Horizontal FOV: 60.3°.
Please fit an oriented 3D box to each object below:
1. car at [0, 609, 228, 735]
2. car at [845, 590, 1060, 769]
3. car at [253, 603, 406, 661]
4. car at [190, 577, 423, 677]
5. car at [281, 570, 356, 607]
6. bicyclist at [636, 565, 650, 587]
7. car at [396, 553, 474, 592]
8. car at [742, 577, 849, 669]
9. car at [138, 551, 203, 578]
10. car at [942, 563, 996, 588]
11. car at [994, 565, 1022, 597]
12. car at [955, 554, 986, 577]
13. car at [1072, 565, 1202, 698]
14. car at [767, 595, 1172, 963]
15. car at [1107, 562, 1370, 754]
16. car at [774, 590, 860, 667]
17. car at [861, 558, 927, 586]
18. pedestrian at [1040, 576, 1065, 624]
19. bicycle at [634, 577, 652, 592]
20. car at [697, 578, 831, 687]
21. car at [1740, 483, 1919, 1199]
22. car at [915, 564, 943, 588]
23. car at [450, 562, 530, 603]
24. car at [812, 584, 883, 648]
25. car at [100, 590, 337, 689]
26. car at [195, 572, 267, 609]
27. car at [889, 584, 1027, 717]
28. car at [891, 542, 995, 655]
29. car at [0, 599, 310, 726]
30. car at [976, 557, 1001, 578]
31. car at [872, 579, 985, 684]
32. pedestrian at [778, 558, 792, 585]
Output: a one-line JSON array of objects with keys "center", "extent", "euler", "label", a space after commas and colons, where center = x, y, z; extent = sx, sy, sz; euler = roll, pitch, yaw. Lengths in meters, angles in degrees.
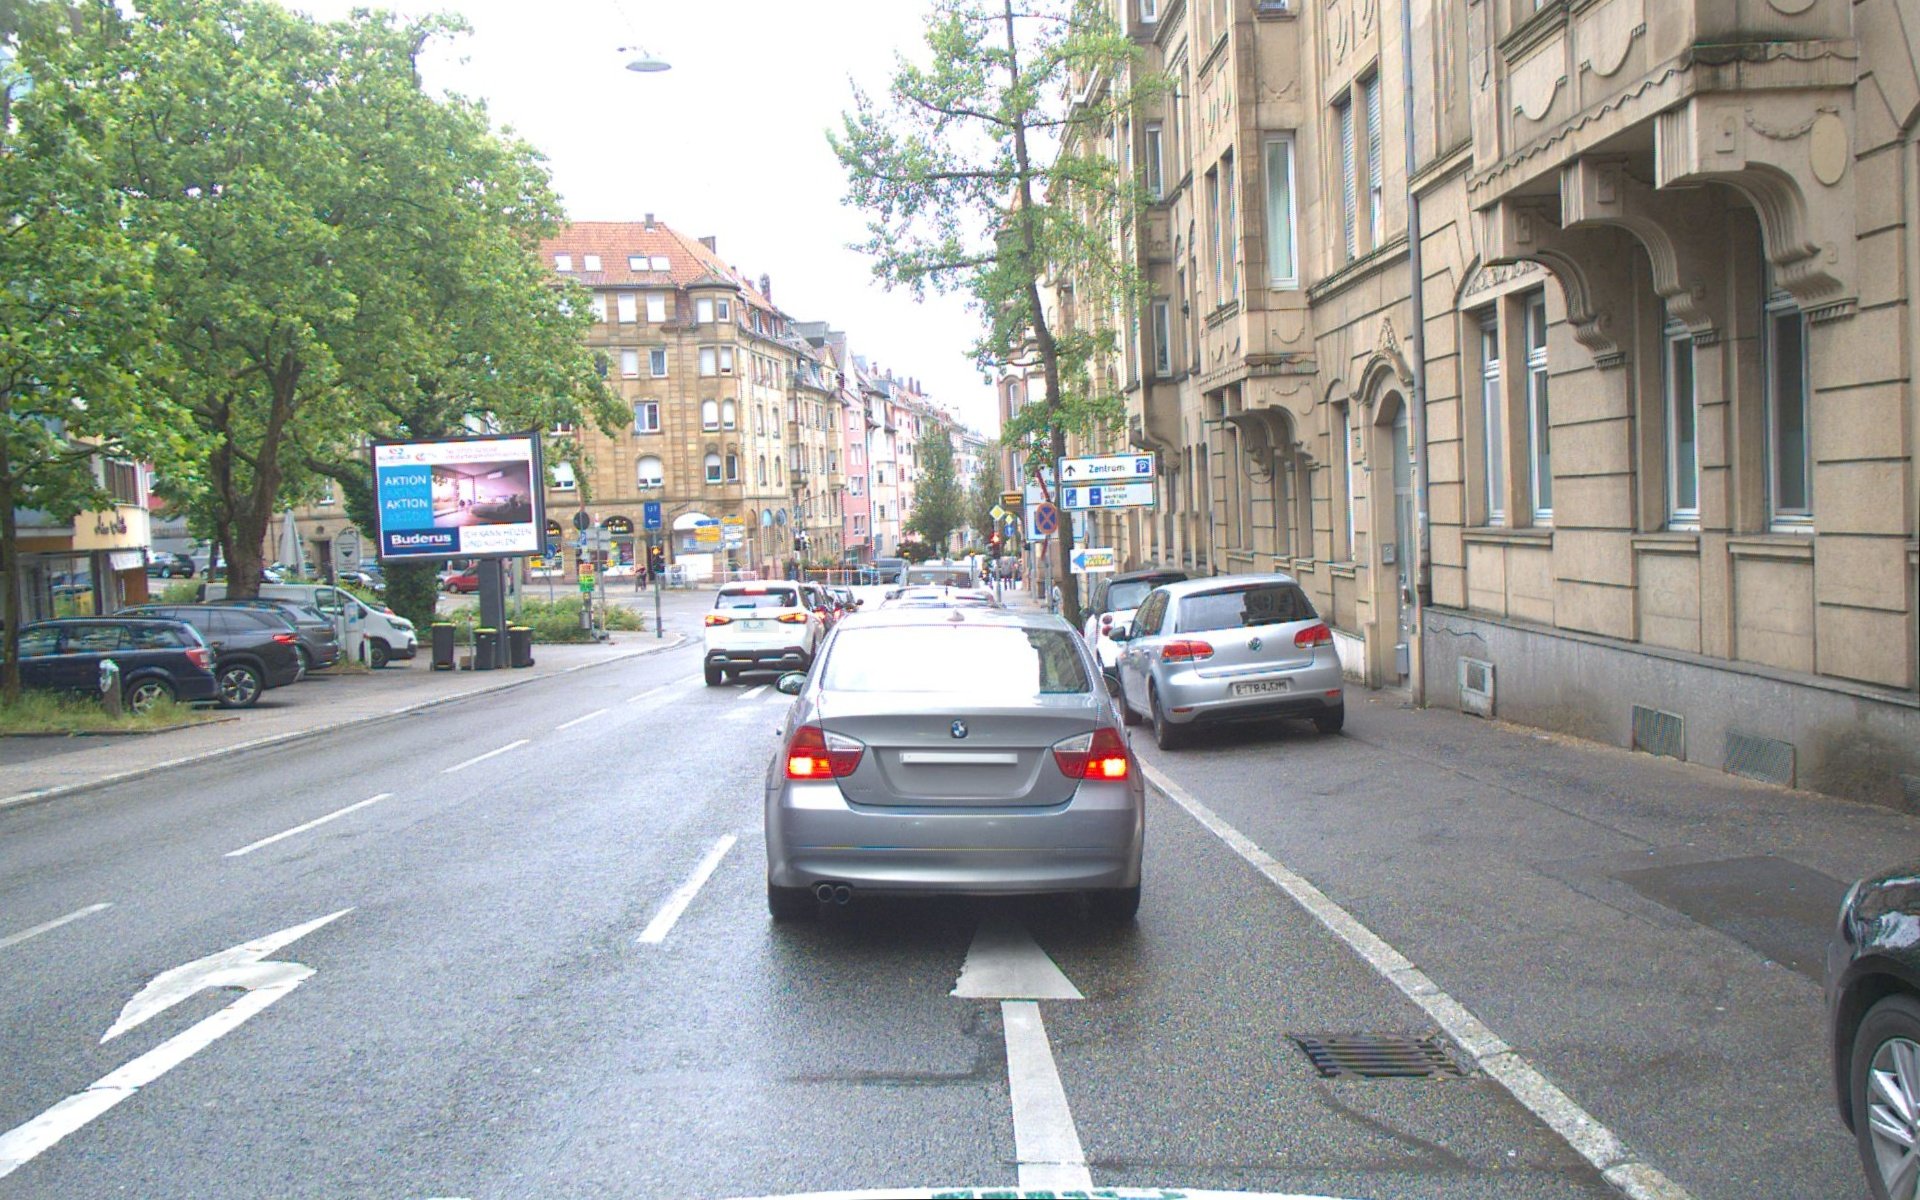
[{"center": [-12.995, 1.036, 23.913], "extent": [4.299, 1.601, 1.929], "euler": [-3, 1, -24], "label": "car"}, {"center": [-0.047, 0.630, 15.345], "extent": [1.723, 1.407, 4.000], "euler": [-1, 1, 0], "label": "car"}, {"center": [-17.717, 0.868, 46.559], "extent": [3.916, 1.475, 1.757], "euler": [-2, 0, -22], "label": "car"}, {"center": [-15.459, 0.602, 39.315], "extent": [4.989, 2.142, 1.979], "euler": [-2, 0, -22], "label": "car"}, {"center": [-39.248, -0.706, 101.145], "extent": [4.196, 2.138, 1.998], "euler": [2, 2, 28], "label": "car"}, {"center": [-18.428, -1.389, 96.189], "extent": [0.556, 1.295, 0.690], "euler": [1, -1, 11], "label": "bicyclist"}, {"center": [-30.535, -1.604, 96.209], "extent": [4.196, 2.138, 1.998], "euler": [2, 2, 28], "label": "car"}, {"center": [-3.284, 0.411, 33.645], "extent": [1.723, 1.737, 4.000], "euler": [-1, 1, 0], "label": "car"}, {"center": [-51.084, -2.303, 107.037], "extent": [3.909, 1.718, 1.726], "euler": [1, 0, 27], "label": "car"}, {"center": [0.649, -1.711, 114.156], "extent": [1.957, 1.606, 3.991], "euler": [1, 0, 31], "label": "car"}, {"center": [3.230, -1.268, 112.258], "extent": [1.652, 2.048, 3.999], "euler": [-3, 1, -1], "label": "car"}, {"center": [0.762, -2.498, 120.693], "extent": [1.951, 1.606, 4.002], "euler": [1, 0, 5], "label": "car"}, {"center": [2.373, 0.388, 22.714], "extent": [1.273, 1.569, 2.975], "euler": [-6, 1, -1], "label": "car"}, {"center": [0.049, 0.702, 8.345], "extent": [1.590, 1.407, 3.615], "euler": [-1, 1, 0], "label": "car"}, {"center": [2.588, 0.485, 16.305], "extent": [1.725, 1.476, 3.999], "euler": [-6, 1, -1], "label": "car"}, {"center": [-3.434, 0.659, 40.357], "extent": [1.723, 1.737, 4.000], "euler": [-1, 1, 0], "label": "car"}, {"center": [-5.183, -2.221, 129.942], "extent": [5.072, 2.049, 2.698], "euler": [1, 0, -1], "label": "car"}, {"center": [3.105, 0.006, 55.601], "extent": [0.618, 1.534, 0.693], "euler": [-6, 0, -2], "label": "pedestrian"}, {"center": [-18.440, -0.897, 96.205], "extent": [0.561, 0.873, 1.523], "euler": [1, 0, 8], "label": "bicycle"}, {"center": [-3.193, 0.486, 27.653], "extent": [1.830, 1.654, 3.999], "euler": [-1, 0, -1], "label": "car"}, {"center": [2.823, 0.530, 1.949], "extent": [1.724, 1.679, 4.098], "euler": [-6, 1, 0], "label": "car"}, {"center": [-1.959, -1.522, 104.740], "extent": [1.680, 1.476, 3.741], "euler": [-2, 0, -1], "label": "car"}, {"center": [-25.757, -0.953, 90.729], "extent": [3.913, 2.048, 1.996], "euler": [-3, 1, -8], "label": "car"}, {"center": [-3.209, 0.424, 47.670], "extent": [1.723, 1.737, 4.000], "euler": [-1, 1, 0], "label": "car"}, {"center": [-15.136, 0.772, 34.025], "extent": [4.295, 1.815, 1.927], "euler": [-2, 0, -22], "label": "car"}, {"center": [-45.798, -0.621, 103.887], "extent": [4.196, 2.138, 1.998], "euler": [2, 2, 28], "label": "car"}, {"center": [-0.012, 0.555, 20.855], "extent": [1.562, 1.490, 4.000], "euler": [-1, 1, 0], "label": "car"}, {"center": [-0.353, -0.030, 33.319], "extent": [1.953, 2.143, 3.999], "euler": [0, 0, -1], "label": "car"}, {"center": [-12.847, 0.944, 26.649], "extent": [4.308, 1.701, 1.842], "euler": [-3, 1, -24], "label": "car"}, {"center": [1.755, -2.002, 102.861], "extent": [1.405, 1.195, 3.433], "euler": [1, 0, -2], "label": "car"}, {"center": [-0.473, 0.456, 27.346], "extent": [1.723, 1.594, 4.000], "euler": [-1, 1, 0], "label": "car"}, {"center": [-10.711, -1.730, 101.066], "extent": [0.716, 1.605, 0.528], "euler": [-2, 0, 8], "label": "pedestrian"}]
